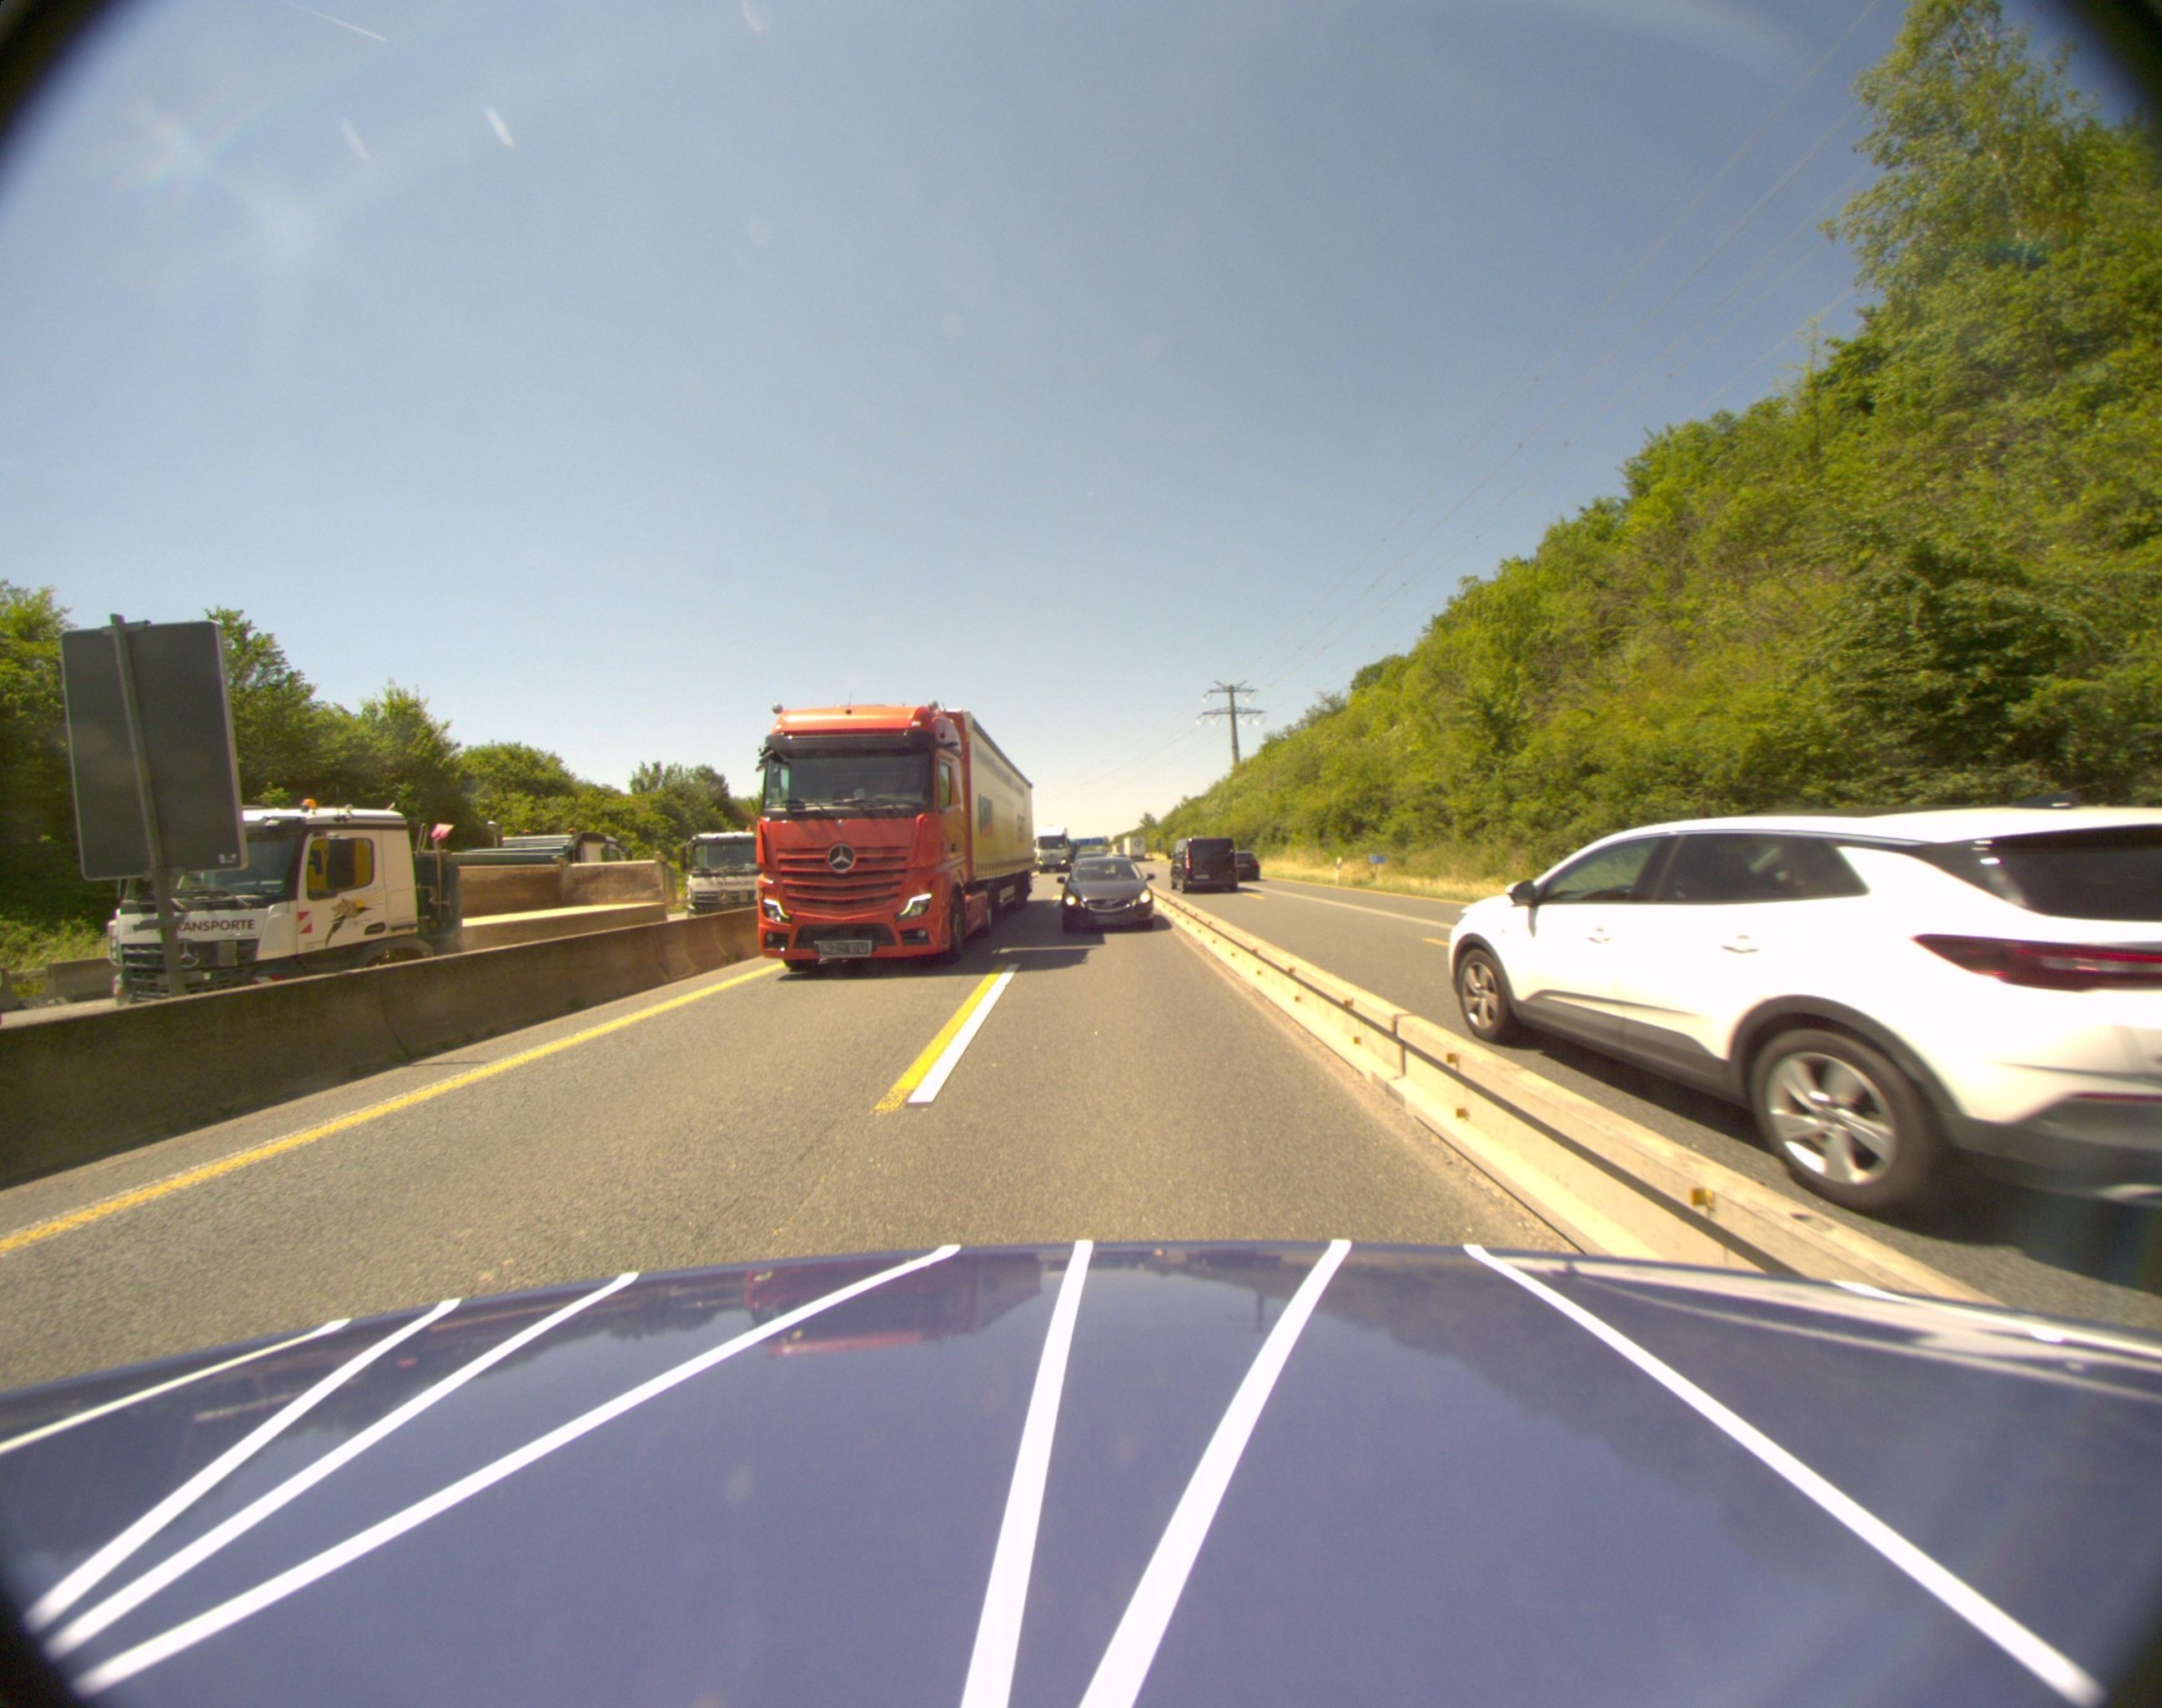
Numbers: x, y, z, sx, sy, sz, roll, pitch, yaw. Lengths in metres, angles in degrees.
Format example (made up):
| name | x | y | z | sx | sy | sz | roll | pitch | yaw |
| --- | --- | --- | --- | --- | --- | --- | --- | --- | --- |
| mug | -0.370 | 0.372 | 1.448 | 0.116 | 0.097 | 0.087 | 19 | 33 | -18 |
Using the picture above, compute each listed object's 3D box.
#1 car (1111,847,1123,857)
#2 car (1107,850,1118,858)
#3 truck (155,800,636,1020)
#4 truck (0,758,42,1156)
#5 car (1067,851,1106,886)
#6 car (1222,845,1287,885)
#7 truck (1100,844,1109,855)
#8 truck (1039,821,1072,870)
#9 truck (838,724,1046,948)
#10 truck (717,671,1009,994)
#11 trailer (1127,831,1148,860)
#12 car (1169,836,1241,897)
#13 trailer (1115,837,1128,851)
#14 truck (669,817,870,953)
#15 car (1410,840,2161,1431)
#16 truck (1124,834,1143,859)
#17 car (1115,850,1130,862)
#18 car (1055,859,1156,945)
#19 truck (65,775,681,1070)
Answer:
| name | x | y | z | sx | sy | sz | roll | pitch | yaw |
| --- | --- | --- | --- | --- | --- | --- | --- | --- | --- |
| car | 5.930 | -0.319 | 124.665 | 1.767 | 1.622 | 4.296 | -3 | 1 | 0 |
| car | 6.585 | -0.036 | 158.737 | 1.830 | 1.621 | 4.149 | -2 | 1 | -3 |
| truck | -13.648 | 0.901 | 16.600 | 2.694 | 3.490 | 8.379 | -2 | 0 | 0 |
| truck | -10.953 | 0.985 | 2.174 | 2.545 | 3.536 | 9.602 | -2 | 0 | 0 |
| car | 0.294 | 0.665 | 37.726 | 1.767 | 1.523 | 4.698 | -3 | 1 | 1 |
| car | 7.385 | 0.438 | 32.766 | 1.797 | 1.516 | 4.531 | -3 | 0 | 1 |
| truck | 7.960 | -1.442 | 260.685 | 2.412 | 3.312 | 7.493 | -3 | 3 | -3 |
| truck | -2.183 | -0.756 | 70.173 | 2.481 | 4.030 | 13.109 | -2 | 0 | 0 |
| truck | -2.856 | -0.403 | 20.511 | 2.689 | 3.987 | 13.218 | -3 | 1 | 1 |
| truck | -3.090 | -0.306 | 13.028 | 2.689 | 3.987 | 6.725 | -3 | 1 | 2 |
| trailer | 9.147 | -1.357 | 123.748 | 2.644 | 4.287 | 8.447 | -3 | 0 | 0 |
| car | 4.505 | 0.411 | 28.284 | 1.895 | 2.002 | 4.817 | -3 | 0 | 1 |
| trailer | 10.102 | -2.418 | 189.128 | 2.657 | 3.317 | 8.918 | -4 | 0 | 1 |
| truck | -9.485 | 0.798 | 24.608 | 2.539 | 3.490 | 9.096 | -2 | 0 | 0 |
| car | 3.806 | 0.733 | 4.321 | 1.848 | 1.524 | 4.671 | -2 | 0 | 1 |
| truck | 9.114 | -1.282 | 133.157 | 2.416 | 3.969 | 10.351 | -3 | 0 | 0 |
| car | 5.369 | 0.190 | 98.289 | 1.717 | 1.417 | 4.169 | -3 | 1 | 0 |
| car | 0.483 | 0.869 | 15.823 | 1.767 | 1.411 | 4.698 | -1 | 1 | 1 |
| truck | -10.964 | 0.816 | 13.723 | 2.539 | 3.490 | 8.943 | -2 | 0 | 0 |
